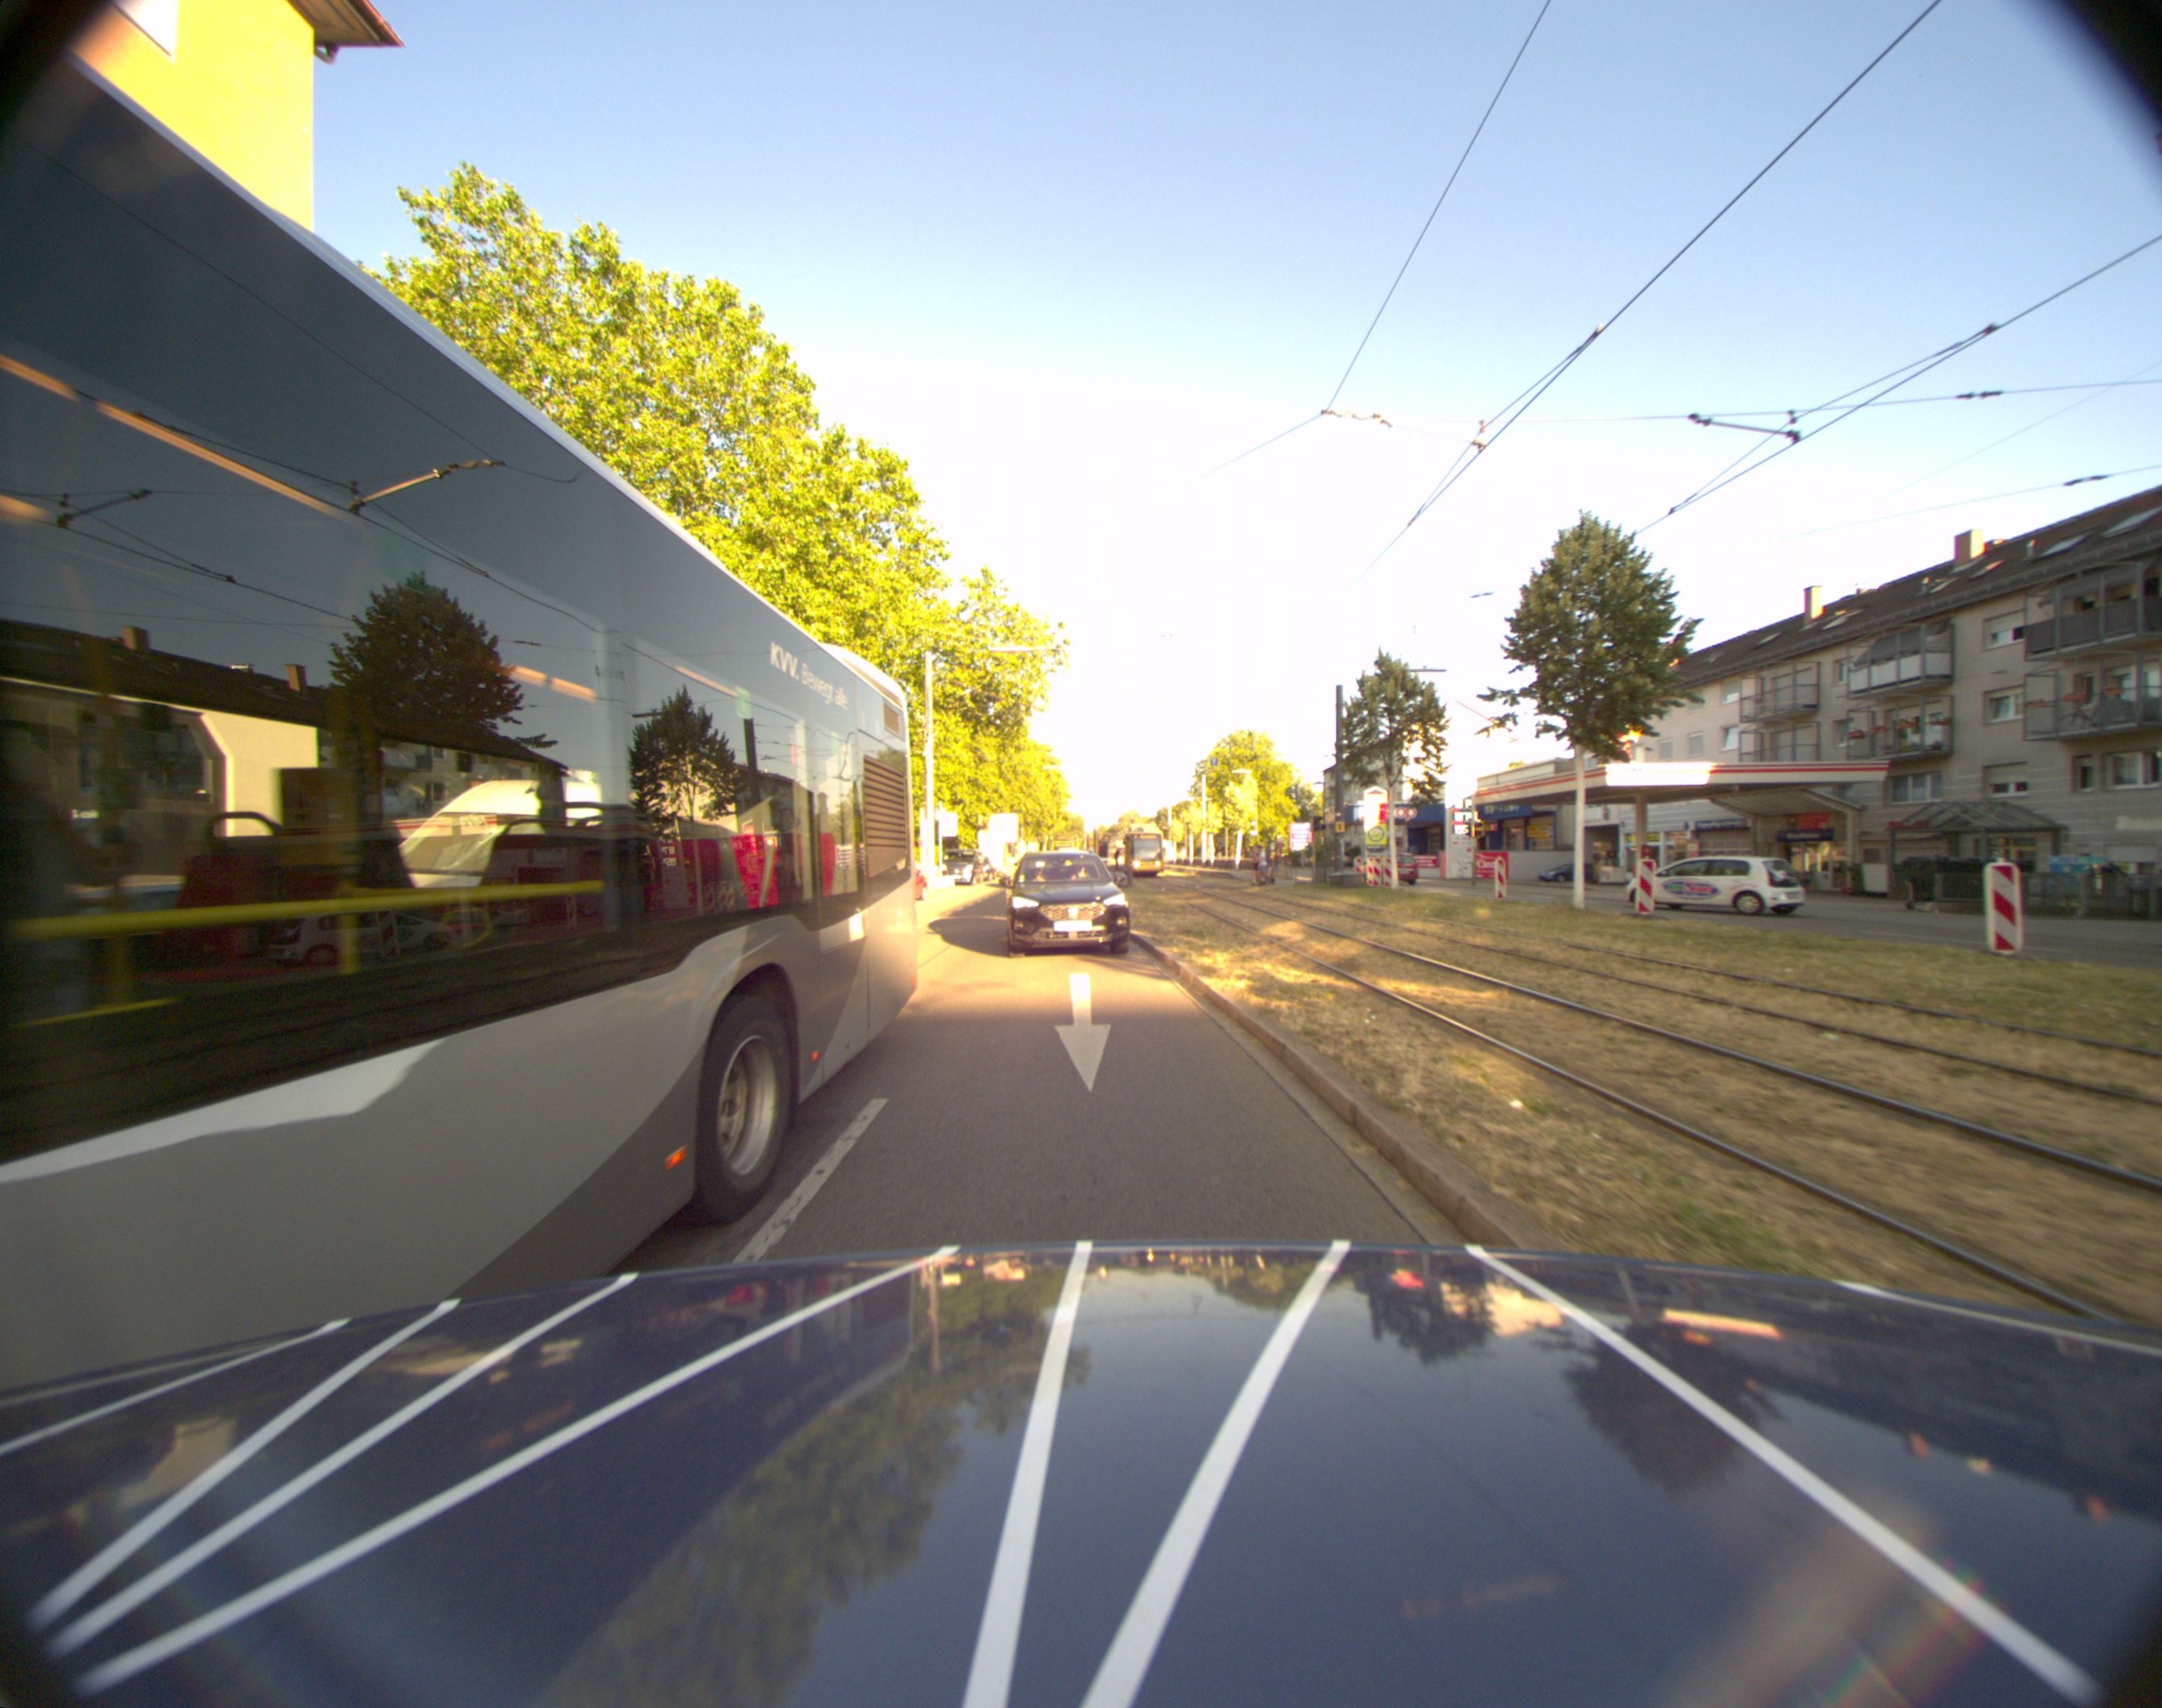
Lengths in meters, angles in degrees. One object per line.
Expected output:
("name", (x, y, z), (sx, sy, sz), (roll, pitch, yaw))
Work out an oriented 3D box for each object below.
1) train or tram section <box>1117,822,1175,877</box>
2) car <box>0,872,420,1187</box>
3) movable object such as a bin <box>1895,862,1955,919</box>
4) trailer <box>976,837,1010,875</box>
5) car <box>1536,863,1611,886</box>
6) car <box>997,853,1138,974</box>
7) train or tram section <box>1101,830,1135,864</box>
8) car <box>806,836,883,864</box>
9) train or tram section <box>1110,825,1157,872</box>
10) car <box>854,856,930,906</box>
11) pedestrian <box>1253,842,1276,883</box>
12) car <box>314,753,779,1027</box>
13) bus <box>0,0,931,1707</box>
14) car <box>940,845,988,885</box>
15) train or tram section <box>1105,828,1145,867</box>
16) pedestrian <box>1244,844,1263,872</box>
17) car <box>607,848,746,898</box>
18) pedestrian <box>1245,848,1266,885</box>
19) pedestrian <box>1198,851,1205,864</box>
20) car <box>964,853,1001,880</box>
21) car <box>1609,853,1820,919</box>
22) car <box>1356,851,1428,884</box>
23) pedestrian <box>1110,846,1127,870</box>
("train or tram section", (4.374, -0.344, 53.590), (3.043, 3.497, 10.094), (1, 1, -1))
("car", (-6.598, 0.955, 4.602), (1.843, 1.579, 3.785), (0, 0, 1))
("movable object such as a bin", (21.134, 0.900, 19.036), (0.665, 1.392, 0.749), (0, 1, -1))
("trailer", (-6.290, 0.128, 54.879), (1.890, 2.573, 4.650), (0, 0, 1))
("car", (32.993, 1.357, 51.000), (3.803, 1.514, 1.818), (0, 0, 3))
("car", (-0.355, 0.821, 12.609), (1.911, 1.606, 4.083), (-2, 0, -5))
("train or tram section", (4.001, -0.751, 83.884), (3.043, 3.497, 10.094), (1, 1, -1))
("car", (-14.683, -0.241, 47.270), (4.122, 1.541, 1.803), (-2, 0, 2))
("train or tram section", (4.239, -0.485, 63.694), (3.043, 3.497, 10.094), (1, 1, -1))
("car", (-6.329, 0.864, 25.809), (1.573, 1.486, 3.626), (2, 0, 1))
("pedestrian", (8.477, 0.390, 35.185), (0.860, 1.921, 0.755), (0, 1, -2))
("car", (-6.320, 0.339, 10.233), (2.022, 2.536, 5.784), (3, 0, 0))
("bus", (-2.775, 0.233, 2.216), (2.745, 3.038, 8.853), (-1, 0, 1))
("car", (-6.342, 0.566, 41.572), (1.889, 2.066, 4.562), (0, 0, 1))
("train or tram section", (4.125, -0.620, 73.801), (3.043, 3.497, 10.094), (1, 1, -1))
("pedestrian", (10.683, 0.244, 47.061), (0.937, 1.644, 0.926), (-3, 1, 0))
("car", (-14.786, 0.668, 27.950), (4.032, 1.591, 1.856), (-3, 0, -1))
("pedestrian", (8.295, 0.570, 36.063), (0.755, 1.737, 0.860), (0, 1, -3))
("pedestrian", (17.418, 0.469, 110.253), (0.755, 1.871, 1.000), (-3, 1, -1))
("car", (-6.197, 0.745, 48.136), (1.800, 1.621, 4.000), (0, 0, 1))
("car", (16.491, 0.769, 20.010), (1.820, 1.503, 3.820), (1, 1, -25))
("car", (16.112, 0.660, 39.647), (1.816, 1.551, 4.934), (0, 1, 1))
("pedestrian", (2.459, 0.281, 49.984), (0.918, 1.541, 0.788), (-1, 1, -8))
